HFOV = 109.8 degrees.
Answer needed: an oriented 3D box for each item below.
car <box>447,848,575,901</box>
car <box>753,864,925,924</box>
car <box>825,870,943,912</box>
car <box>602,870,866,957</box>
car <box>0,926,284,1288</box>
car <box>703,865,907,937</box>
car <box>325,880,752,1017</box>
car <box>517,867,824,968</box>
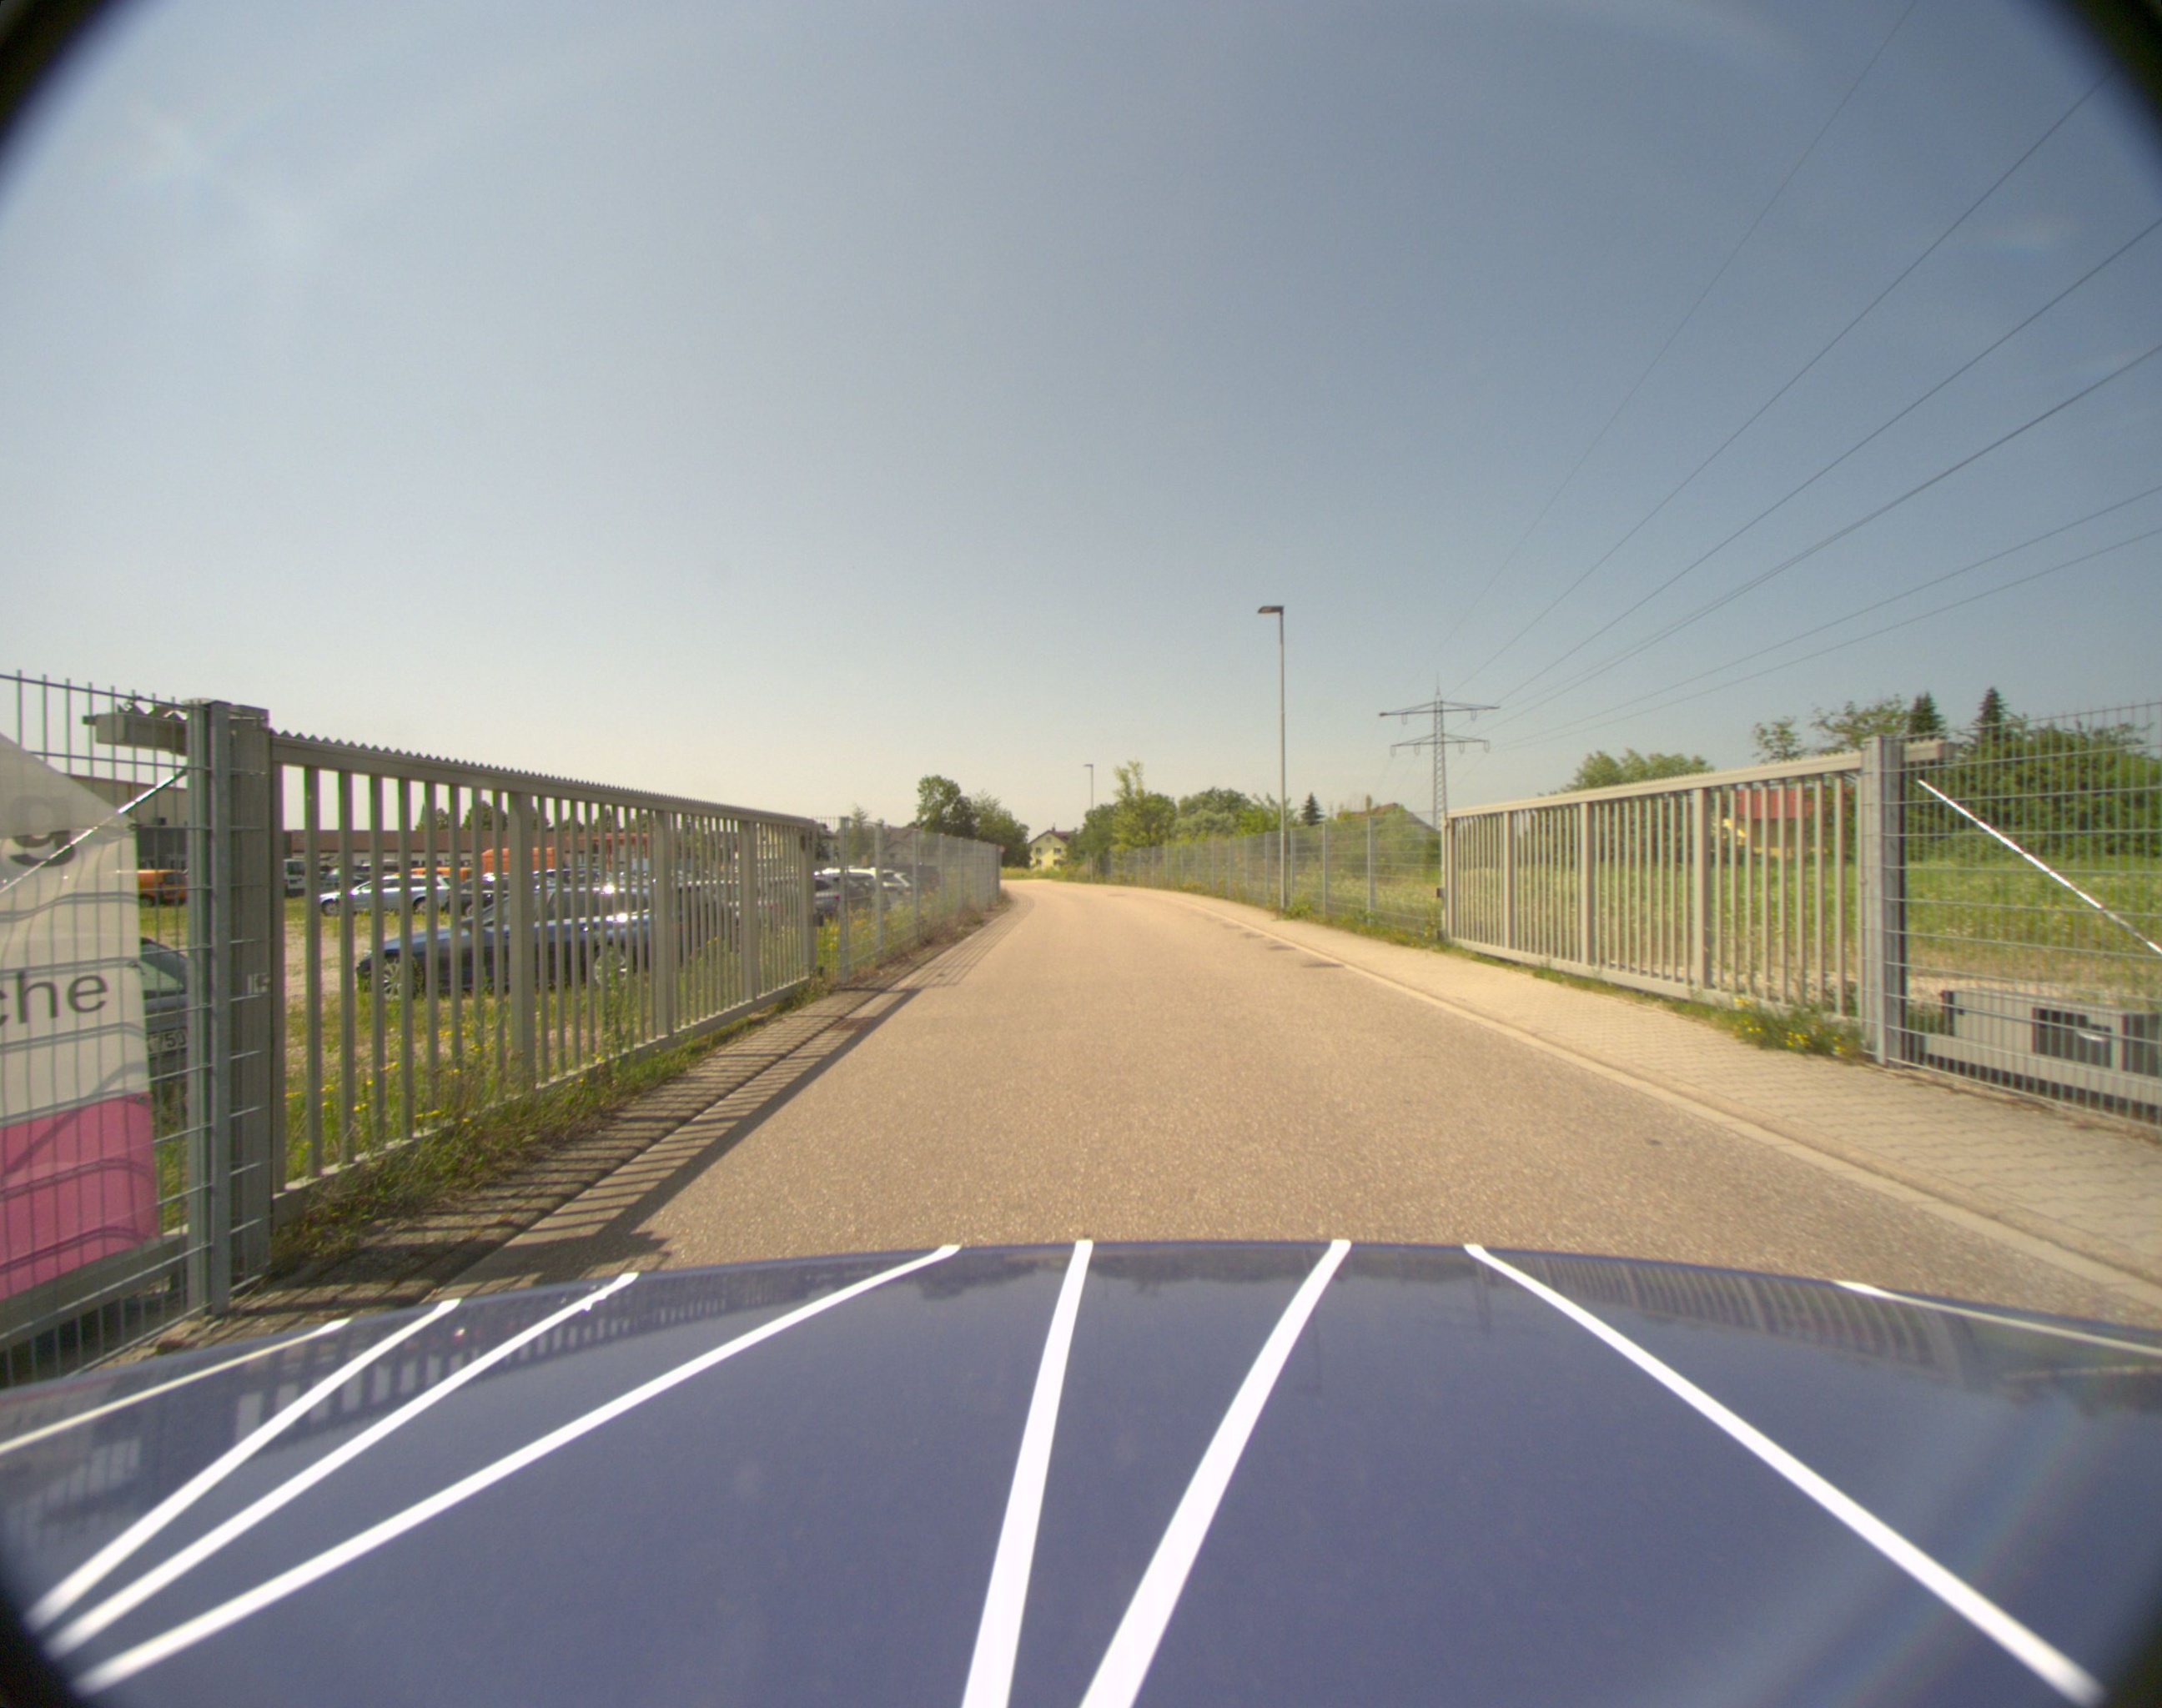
[{"bbox_3d":[-28.667,1.028,38.405,4.749,2.569,1.978,0,-1,-16],"label":"car"},{"bbox_3d":[-6.842,1.114,21.781,4.219,1.398,1.839,-3,0,4],"label":"car"},{"bbox_3d":[-7.767,1.442,30.286,4.292,1.627,1.764,0,-1,-3],"label":"car"},{"bbox_3d":[-6.962,1.168,15.633,4.521,1.398,1.838,-3,0,-2],"label":"car"},{"bbox_3d":[-6.856,1.285,3.601,4.175,1.465,1.637,-3,1,-3],"label":"car"},{"bbox_3d":[-6.666,1.120,18.640,4.219,1.398,1.839,-3,0,4],"label":"car"},{"bbox_3d":[-7.181,1.218,10.373,4.520,1.398,1.767,-3,0,2],"label":"car"},{"bbox_3d":[-7.155,1.082,13.533,4.520,1.398,1.638,-3,0,2],"label":"car"}]
